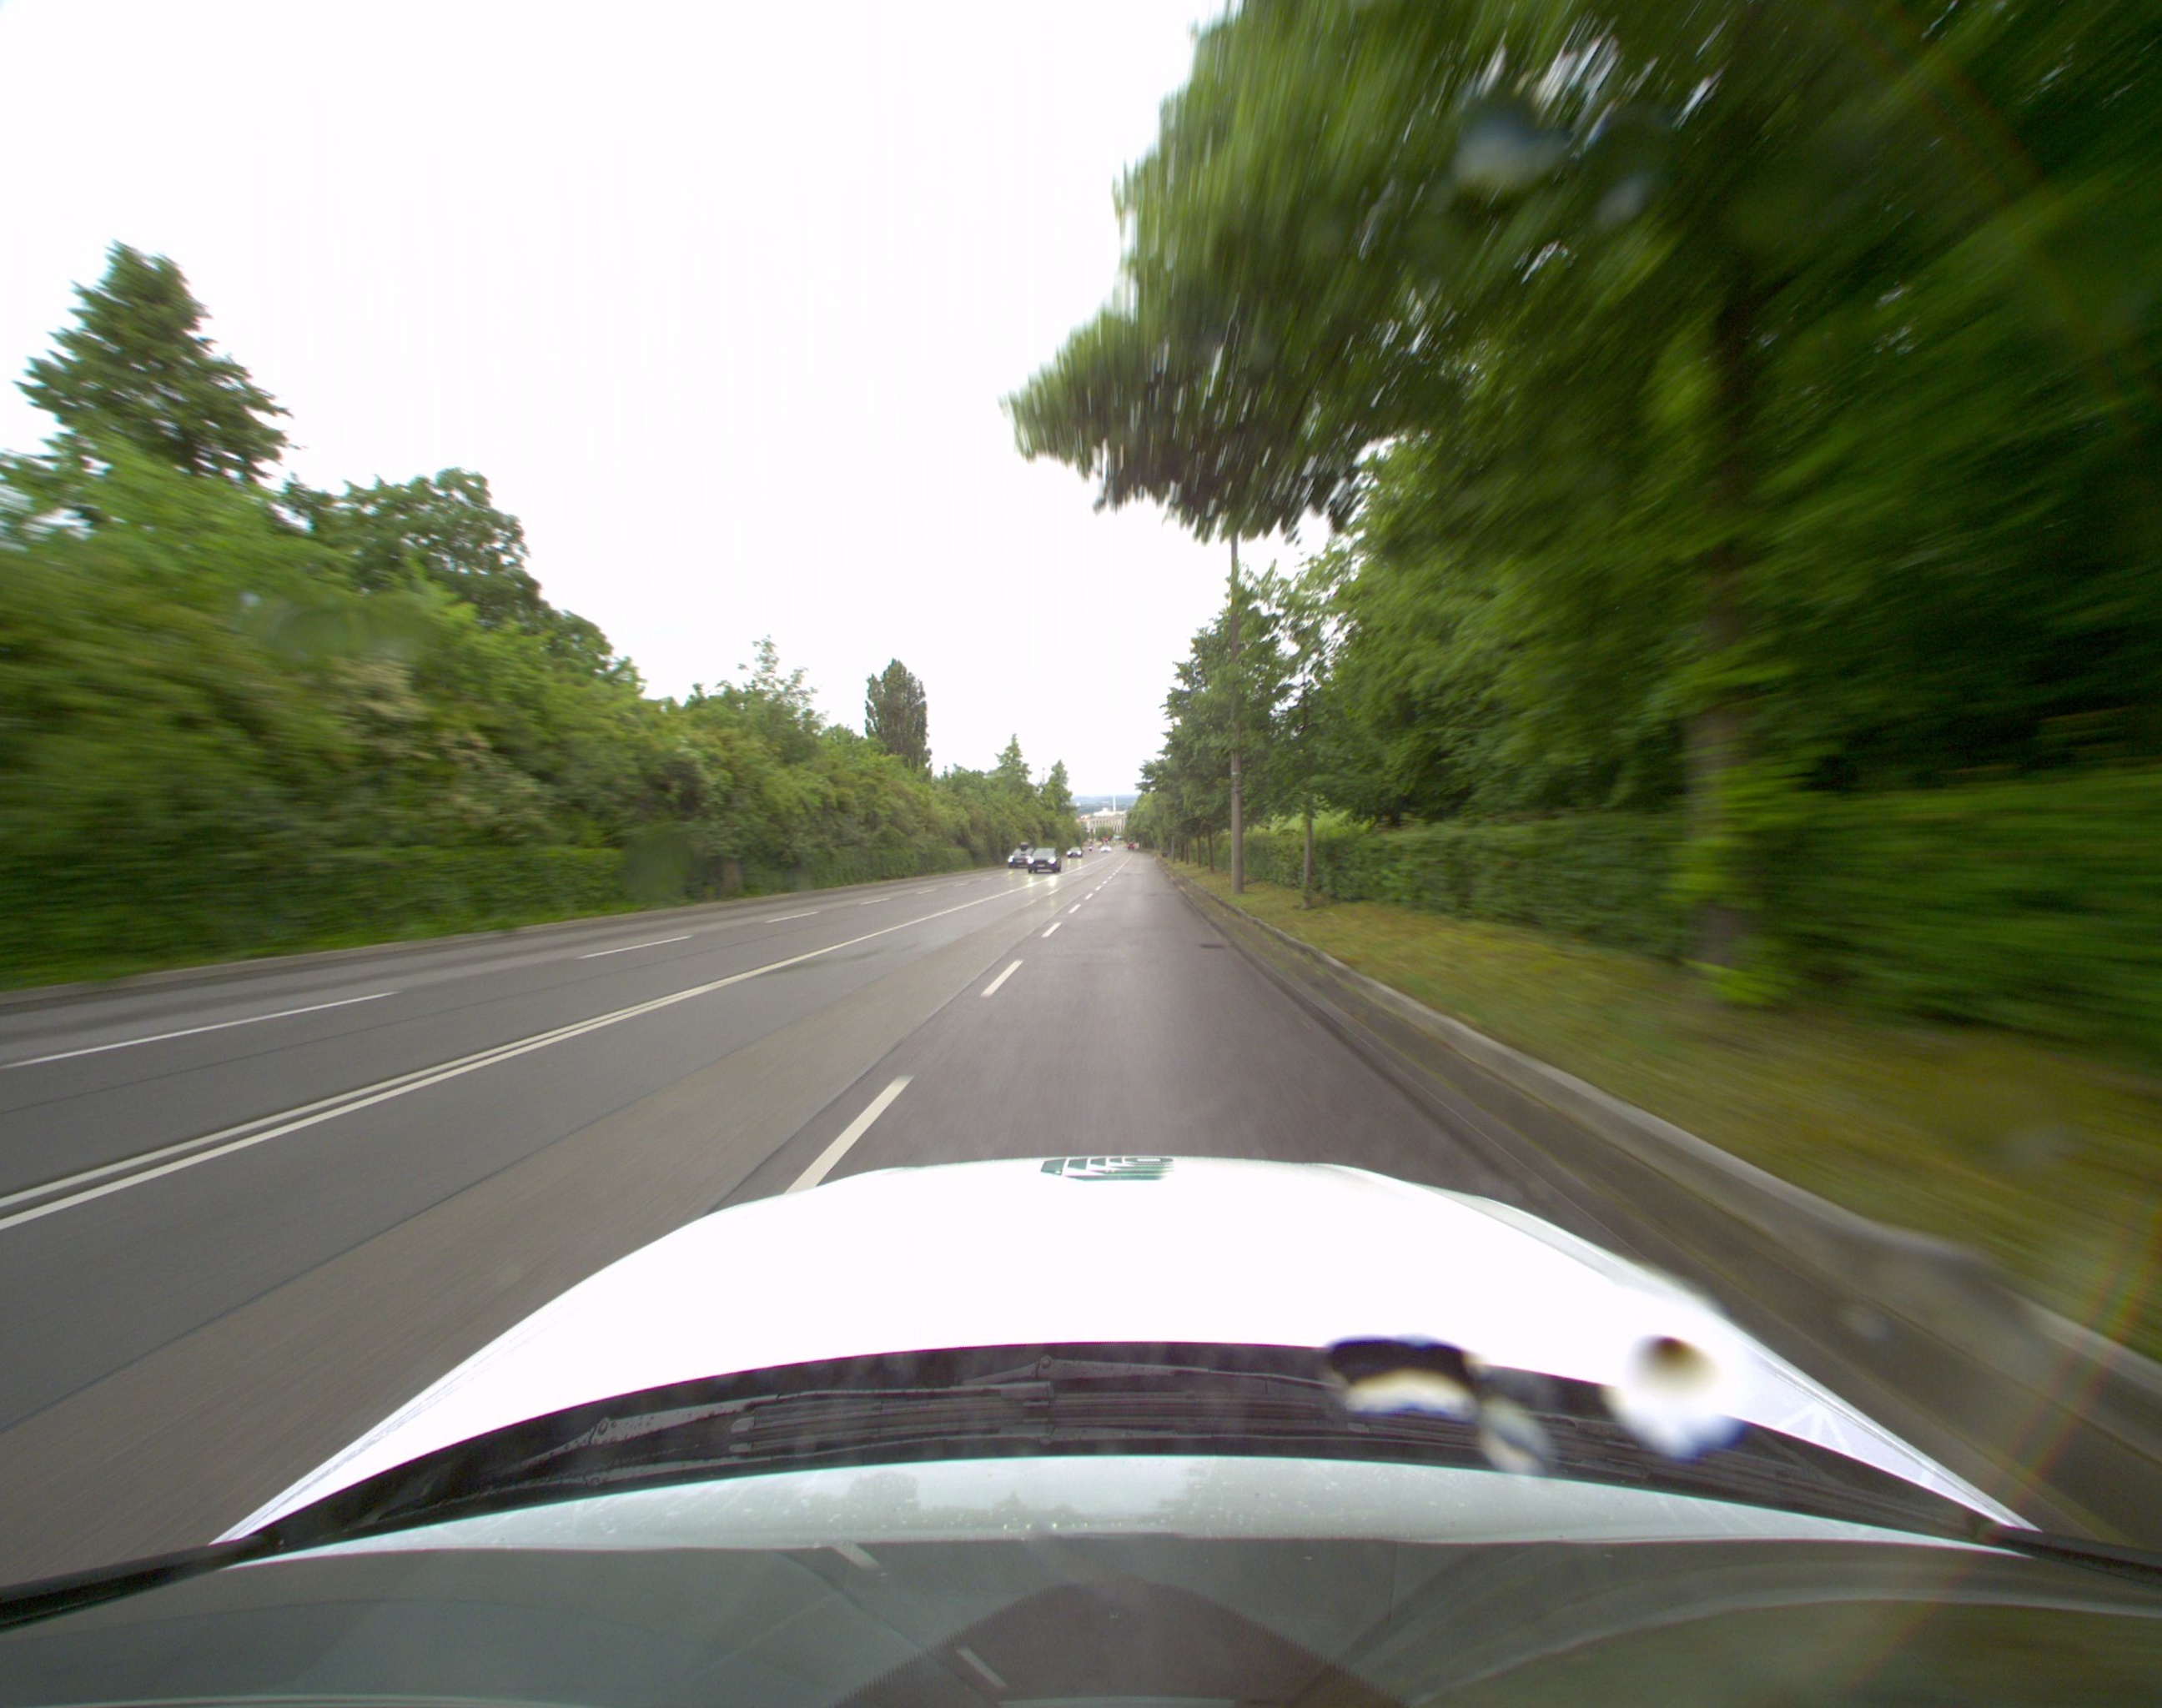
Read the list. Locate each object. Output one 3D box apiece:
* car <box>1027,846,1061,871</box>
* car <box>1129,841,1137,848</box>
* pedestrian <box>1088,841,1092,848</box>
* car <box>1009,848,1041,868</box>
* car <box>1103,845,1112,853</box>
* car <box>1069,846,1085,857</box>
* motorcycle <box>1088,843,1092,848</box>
[{"bbox_3d":[-2.464,0.285,55.698,1.804,1.657,4.600,-1,0,4],"label":"car"},{"bbox_3d":[13.364,-2.383,208.934,1.841,1.702,3.797,0,0,4],"label":"car"},{"bbox_3d":[2.148,-2.221,189.564,0.801,1.541,1.113,-1,0,4],"label":"pedestrian"},{"bbox_3d":[-4.546,0.297,66.694,1.890,1.552,4.636,0,0,5],"label":"car"},{"bbox_3d":[5.364,-1.008,165.426,1.707,1.505,4.522,0,1,4],"label":"car"},{"bbox_3d":[-0.539,-0.316,112.264,1.752,1.381,4.844,0,1,4],"label":"car"},{"bbox_3d":[2.149,-1.884,189.548,0.801,1.131,2.234,-1,1,4],"label":"motorcycle"}]
